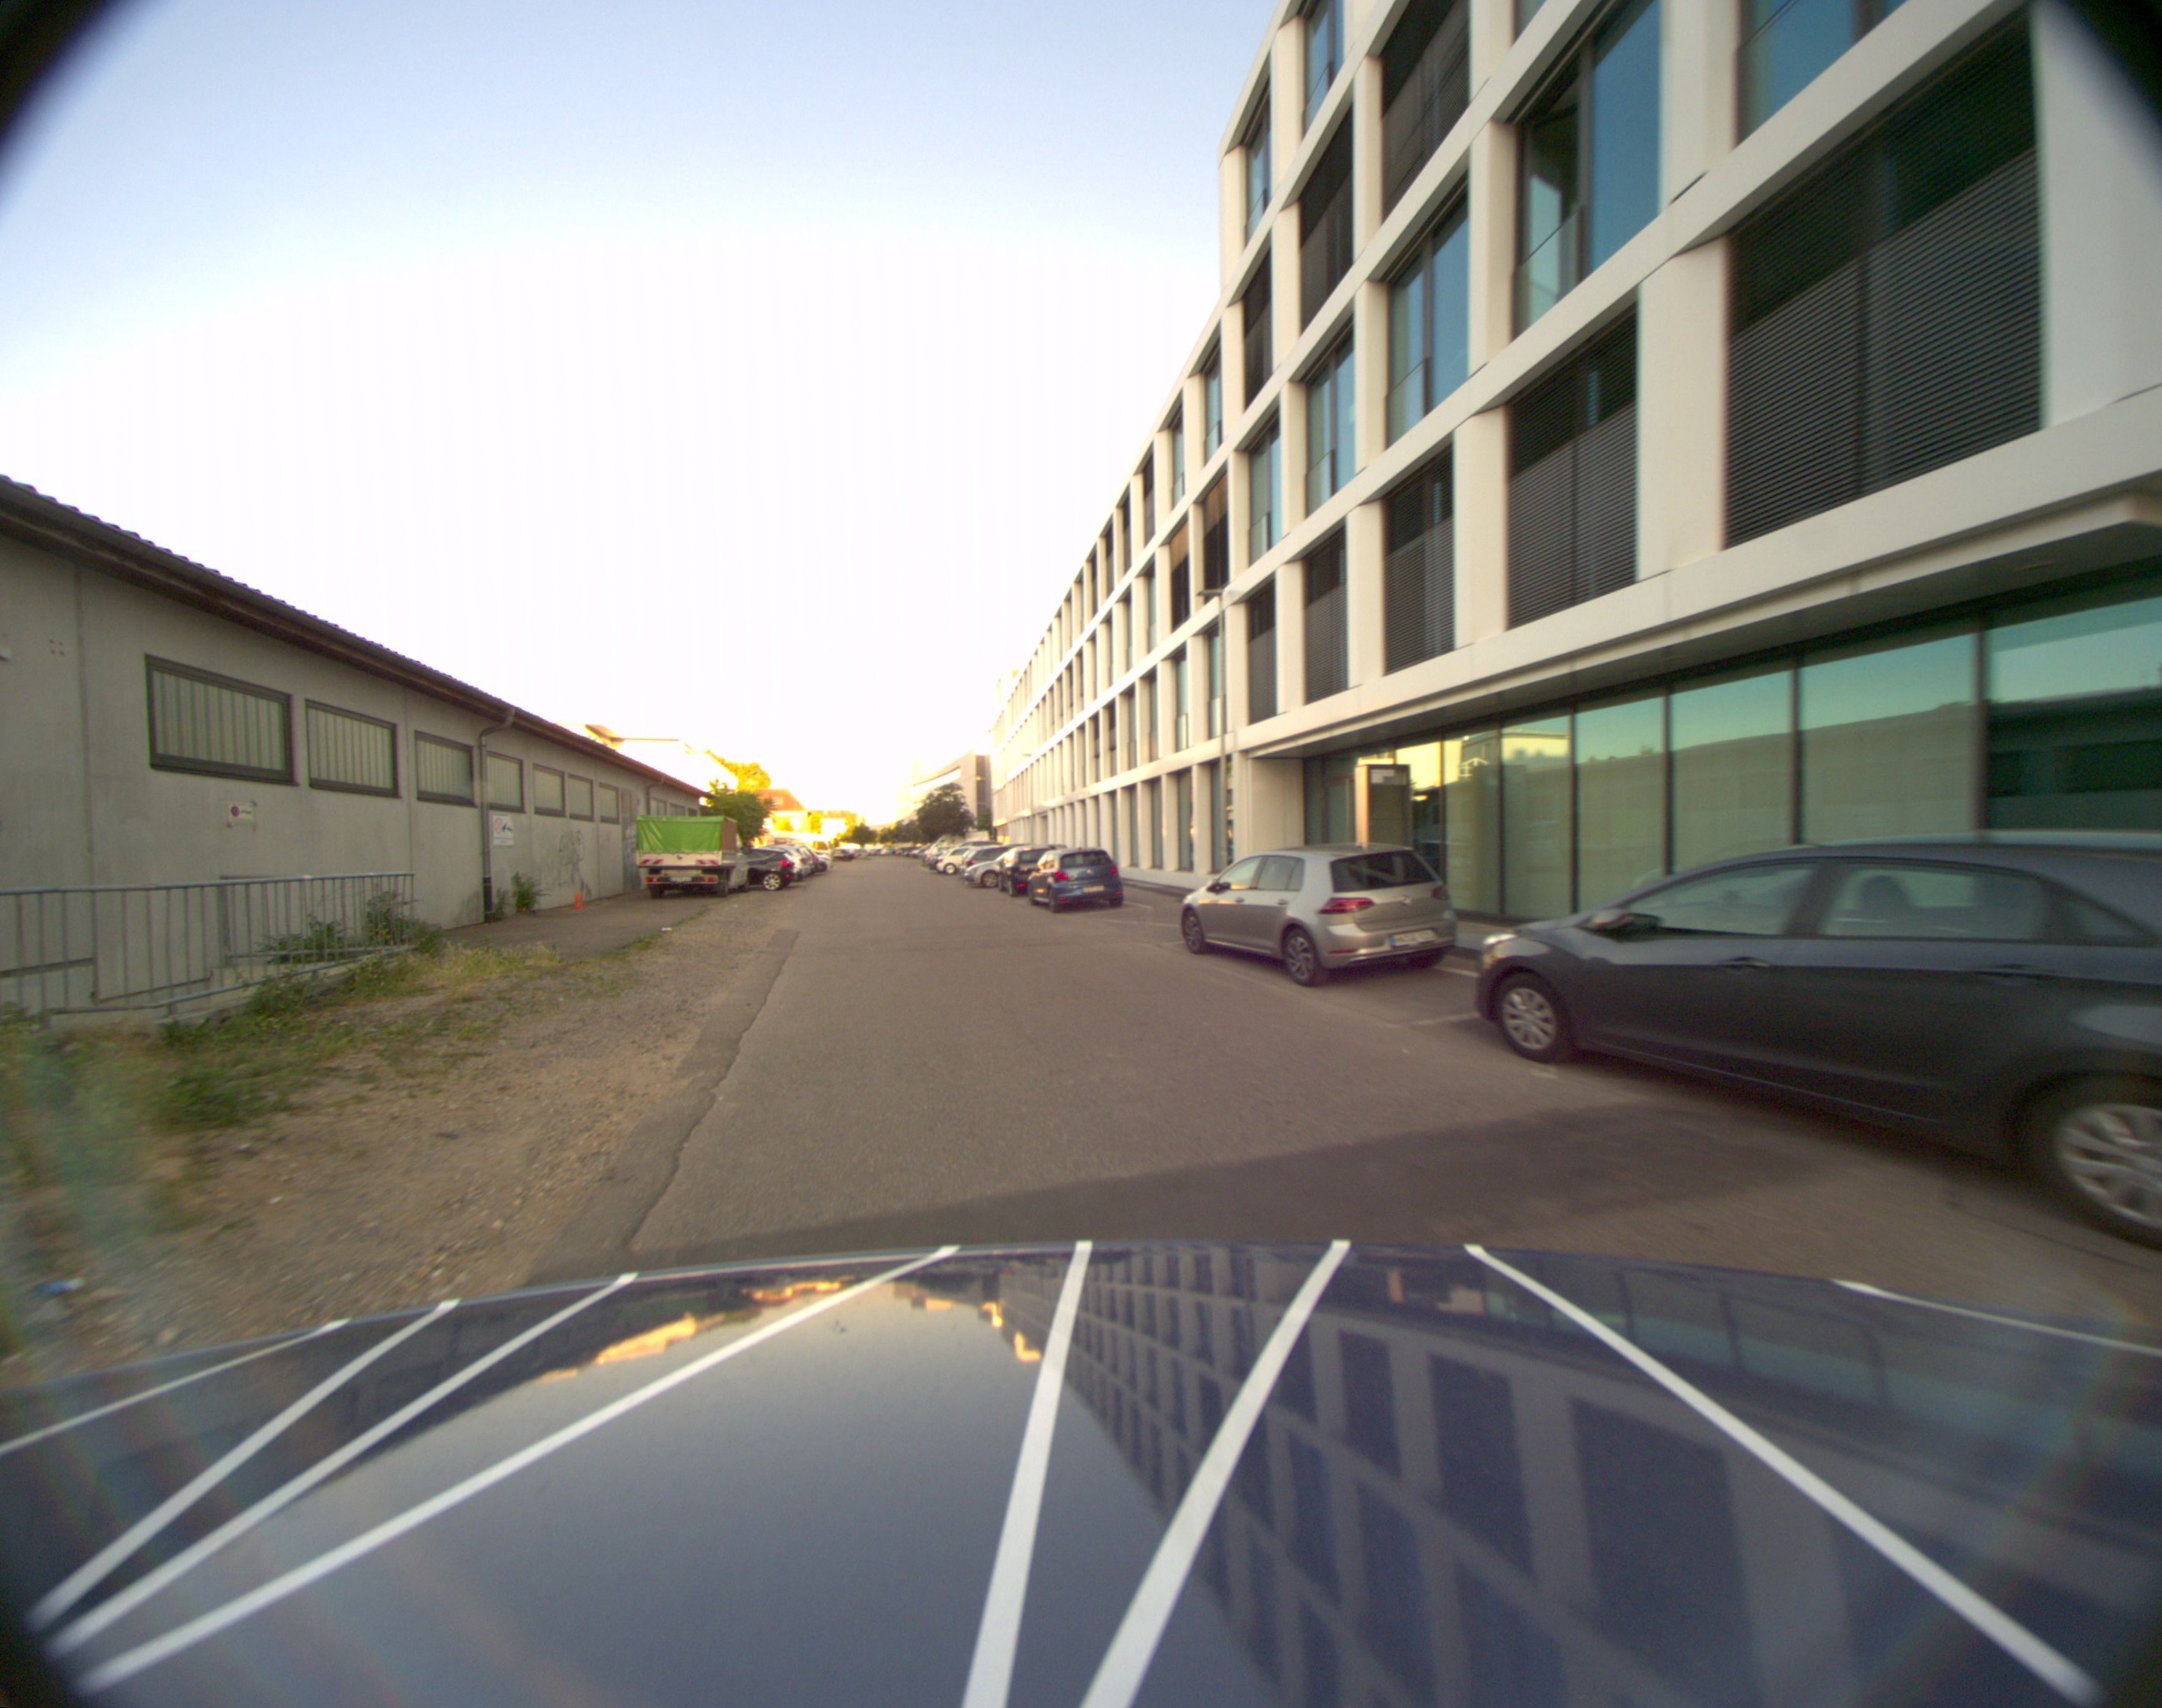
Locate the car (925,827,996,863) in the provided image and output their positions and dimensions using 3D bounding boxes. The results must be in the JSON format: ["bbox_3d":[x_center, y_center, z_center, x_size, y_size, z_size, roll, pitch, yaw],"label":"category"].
[{"bbox_3d":[-9.699,-0.741,61.017,5.399,2.618,2.076,-2,1,-12],"label":"car"}]

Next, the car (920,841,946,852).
[{"bbox_3d":[-21.751,-1.139,111.631,3.659,1.416,1.723,-3,2,-15],"label":"car"}]

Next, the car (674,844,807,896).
[{"bbox_3d":[-11.518,0.492,25.969,3.773,1.527,1.888,-2,3,-13],"label":"car"}]

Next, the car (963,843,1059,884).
[{"bbox_3d":[-2.885,0.358,31.105,3.667,1.503,1.685,-2,1,-12],"label":"car"}]

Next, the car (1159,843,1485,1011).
[{"bbox_3d":[2.628,0.665,9.451,1.716,1.471,4.177,-5,2,-17],"label":"car"}]

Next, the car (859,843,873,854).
[{"bbox_3d":[-29.895,-0.790,105.669,1.683,1.454,4.361,-1,1,-15],"label":"car"}]

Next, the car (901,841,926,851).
[{"bbox_3d":[-29.501,-1.335,133.783,4.033,1.575,1.796,-3,2,-24],"label":"car"}]

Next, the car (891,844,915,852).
[{"bbox_3d":[-32.816,-1.166,140.253,4.033,1.340,1.796,-3,2,-24],"label":"car"}]

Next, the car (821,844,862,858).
[{"bbox_3d":[-25.373,-0.337,80.701,4.071,1.399,1.893,0,0,-16],"label":"car"}]

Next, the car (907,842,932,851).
[{"bbox_3d":[-26.723,-1.255,125.770,3.817,1.353,1.796,-3,2,-19],"label":"car"}]

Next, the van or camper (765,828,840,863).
[{"bbox_3d":[-23.487,-0.747,64.327,5.803,2.848,2.483,0,2,-16],"label":"van or camper"}]

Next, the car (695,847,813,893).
[{"bbox_3d":[-12.089,0.555,28.336,3.773,1.436,1.842,-2,2,-16],"label":"car"}]

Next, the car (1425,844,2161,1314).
[{"bbox_3d":[4.083,0.729,4.009,1.786,1.470,4.324,-3,2,-14],"label":"car"}]

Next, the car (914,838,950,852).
[{"bbox_3d":[-22.389,-1.384,114.130,5.089,1.870,1.886,-3,2,-19],"label":"car"}]

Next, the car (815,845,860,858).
[{"bbox_3d":[-25.053,-0.266,78.291,4.332,1.326,1.893,0,1,-16],"label":"car"}]

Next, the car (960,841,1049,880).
[{"bbox_3d":[-3.365,0.272,33.277,3.667,1.503,1.685,-2,1,-12],"label":"car"}]

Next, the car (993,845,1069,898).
[{"bbox_3d":[-1.713,0.483,24.627,1.654,1.431,4.196,-5,2,-13],"label":"car"}]

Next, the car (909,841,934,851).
[{"bbox_3d":[-25.854,-1.278,123.238,3.817,1.353,1.796,-3,2,-19],"label":"car"}]

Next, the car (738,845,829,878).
[{"bbox_3d":[-14.875,0.358,38.166,3.998,1.437,1.824,-2,3,-14],"label":"car"}]

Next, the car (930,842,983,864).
[{"bbox_3d":[-9.256,-0.099,56.303,3.721,1.487,1.705,-2,1,-13],"label":"car"}]

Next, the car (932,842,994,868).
[{"bbox_3d":[-7.611,0.041,48.904,3.795,1.514,1.691,-2,1,-14],"label":"car"}]

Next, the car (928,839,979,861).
[{"bbox_3d":[-11.150,-0.363,66.151,4.124,1.806,1.813,-2,1,-17],"label":"car"}]

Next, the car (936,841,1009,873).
[{"bbox_3d":[-5.746,0.154,40.326,3.678,1.503,1.694,-2,1,-9],"label":"car"}]

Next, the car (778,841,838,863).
[{"bbox_3d":[-22.124,-0.172,61.739,4.255,1.731,1.965,0,1,-10],"label":"car"}]

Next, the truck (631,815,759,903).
[{"bbox_3d":[-10.910,0.135,21.984,2.106,2.187,5.703,-1,0,-15],"label":"truck"}]

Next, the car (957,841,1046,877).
[{"bbox_3d":[-3.806,0.223,35.944,3.978,1.503,1.794,-2,1,-11],"label":"car"}]

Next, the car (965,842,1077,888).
[{"bbox_3d":[-2.288,0.378,28.466,3.940,1.503,1.685,-2,1,-12],"label":"car"}]

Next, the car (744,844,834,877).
[{"bbox_3d":[-15.484,0.331,40.531,4.217,1.495,1.887,-2,3,-13],"label":"car"}]

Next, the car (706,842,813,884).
[{"bbox_3d":[-13.801,0.367,32.875,3.999,1.600,1.936,-2,2,-16],"label":"car"}]

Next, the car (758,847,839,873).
[{"bbox_3d":[-16.753,0.321,45.313,4.217,1.359,1.821,-2,1,-11],"label":"car"}]

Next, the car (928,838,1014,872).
[{"bbox_3d":[-6.196,0.053,42.867,4.634,1.696,2.002,-2,1,-9],"label":"car"}]

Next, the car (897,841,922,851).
[{"bbox_3d":[-30.575,-1.379,135.761,4.033,1.575,1.796,-3,2,-24],"label":"car"}]

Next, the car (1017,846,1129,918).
[{"bbox_3d":[-0.328,0.597,18.884,1.654,1.431,4.178,-5,2,-15],"label":"car"}]

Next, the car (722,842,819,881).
[{"bbox_3d":[-14.395,0.316,35.495,3.999,1.610,1.824,-2,2,-18],"label":"car"}]
